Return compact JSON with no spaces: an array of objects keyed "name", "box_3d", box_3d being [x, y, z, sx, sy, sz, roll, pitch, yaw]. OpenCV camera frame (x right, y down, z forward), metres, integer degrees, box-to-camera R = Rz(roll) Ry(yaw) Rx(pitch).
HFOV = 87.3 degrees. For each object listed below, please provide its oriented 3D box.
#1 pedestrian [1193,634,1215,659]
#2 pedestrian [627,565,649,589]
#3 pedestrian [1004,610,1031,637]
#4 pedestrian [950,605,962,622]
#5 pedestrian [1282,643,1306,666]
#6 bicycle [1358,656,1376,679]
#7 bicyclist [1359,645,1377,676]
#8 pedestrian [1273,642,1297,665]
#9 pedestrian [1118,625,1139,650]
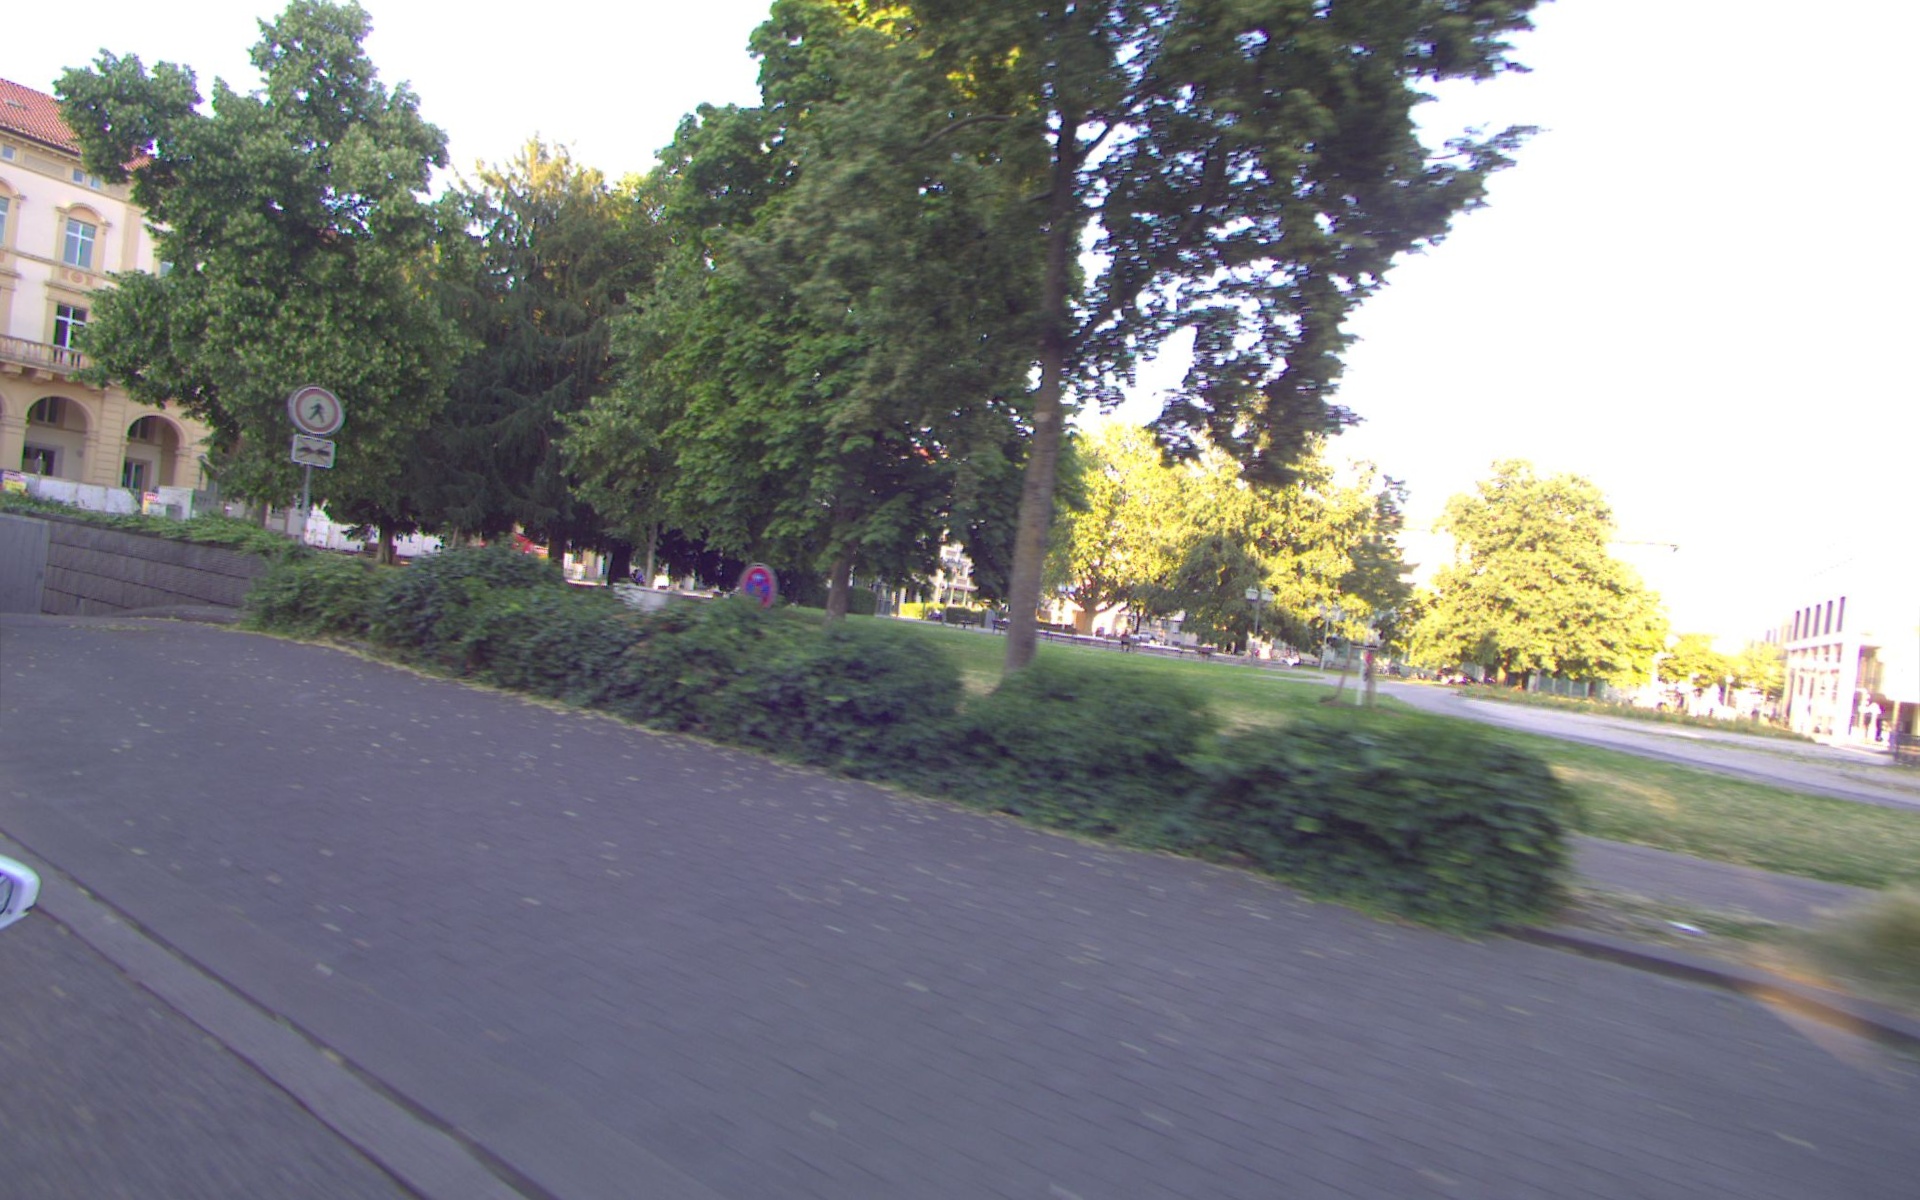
[{"name":"pedestrian","box_3d":[12.826,2.421,52.789,0.724,1.215,1.103,7,1,30]},{"name":"pedestrian","box_3d":[-18.895,-1.344,59.028,0.911,1.267,0.708,7,1,28]},{"name":"pedestrian","box_3d":[3.223,1.318,56.460,1.060,1.308,0.834,7,1,-40]},{"name":"pedestrian","box_3d":[-0.331,1.111,82.885,0.640,1.384,1.031,6,0,-8]},{"name":"pedestrian","box_3d":[22.785,3.740,68.709,1.134,1.387,0.831,7,1,-21]},{"name":"bicycle","box_3d":[22.968,3.788,56.788,0.554,1.191,1.775,6,0,13]},{"name":"bicyclist","box_3d":[23.002,3.399,56.753,0.646,1.653,0.677,6,1,13]},{"name":"pedestrian","box_3d":[22.467,3.694,69.603,1.134,1.387,0.831,7,1,-21]},{"name":"pedestrian","box_3d":[8.914,1.985,53.150,0.653,1.215,1.103,7,1,30]}]
